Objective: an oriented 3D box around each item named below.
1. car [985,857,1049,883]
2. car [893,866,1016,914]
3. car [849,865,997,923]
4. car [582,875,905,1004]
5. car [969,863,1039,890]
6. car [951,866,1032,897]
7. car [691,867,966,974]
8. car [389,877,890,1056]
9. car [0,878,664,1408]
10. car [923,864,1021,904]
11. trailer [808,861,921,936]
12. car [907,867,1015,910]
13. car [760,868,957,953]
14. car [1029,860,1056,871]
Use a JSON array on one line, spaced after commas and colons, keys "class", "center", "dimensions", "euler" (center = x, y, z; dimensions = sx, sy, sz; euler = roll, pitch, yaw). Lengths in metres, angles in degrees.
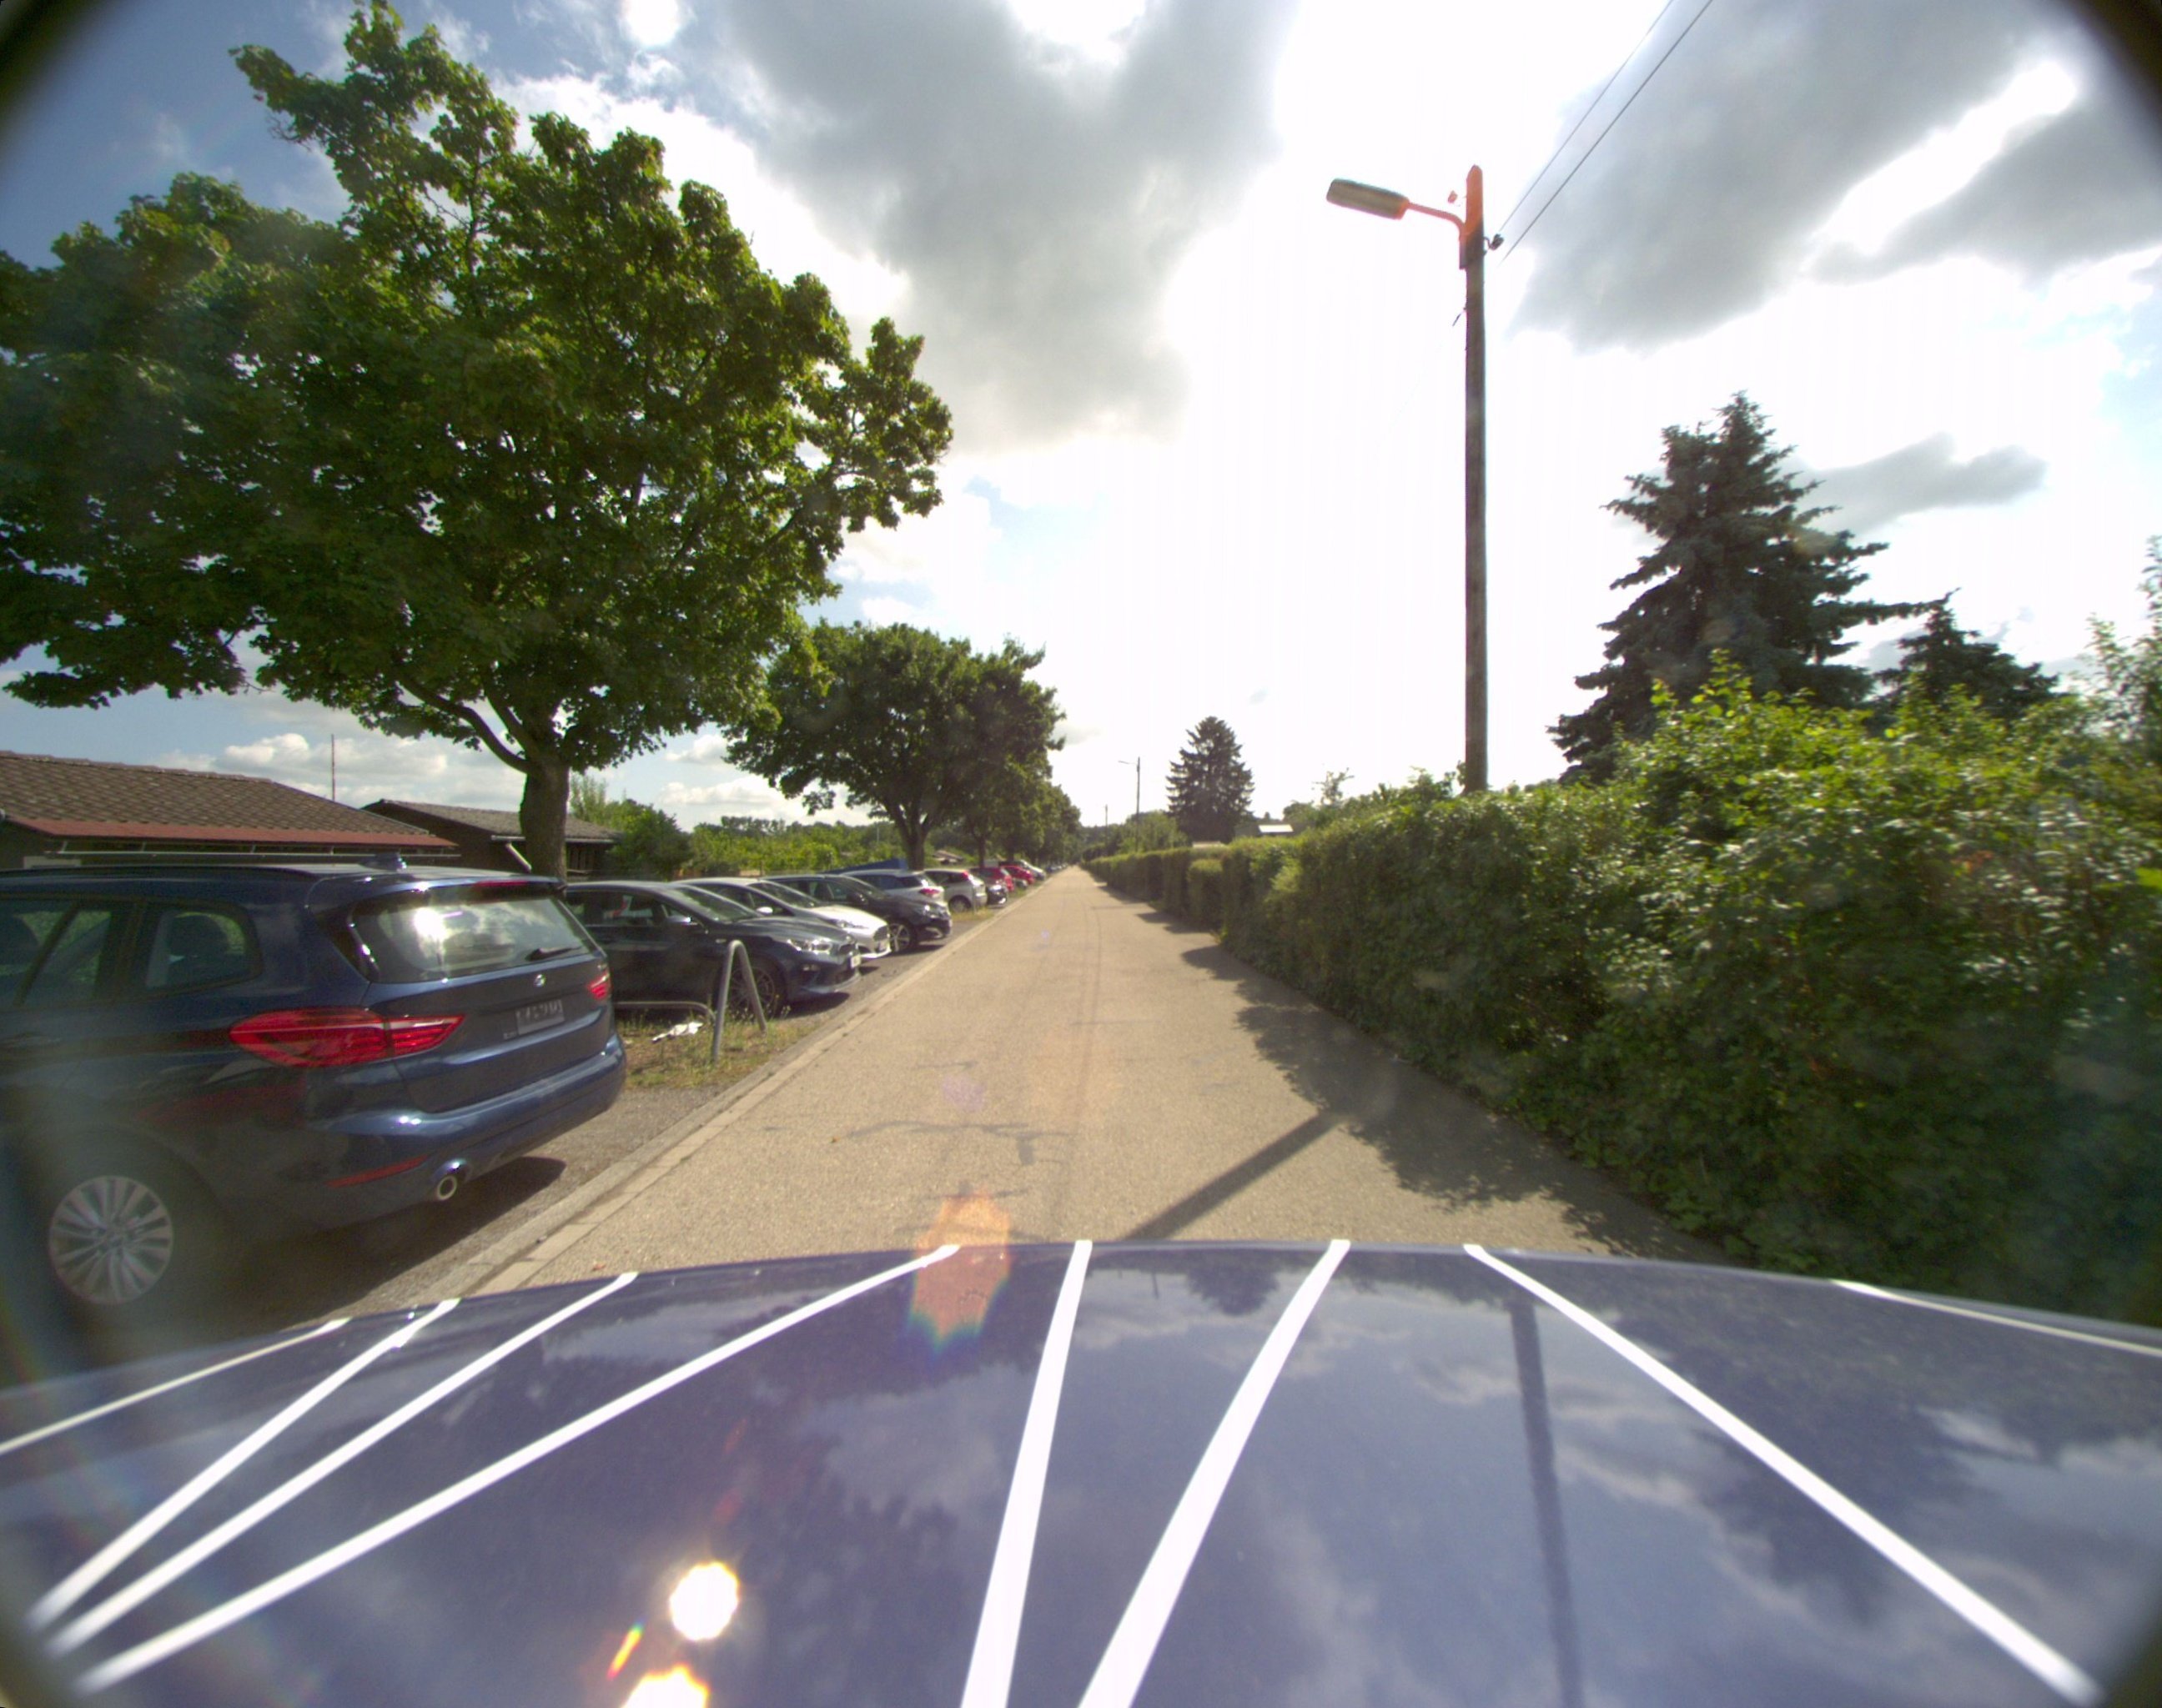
[{"class": "car", "center": [-4.723, 1.165, 56.423], "dimensions": [4.647, 1.875, 2.111], "euler": [0, 0, -2]}, {"class": "car", "center": [-4.440, 1.254, 27.205], "dimensions": [4.076, 1.447, 1.869], "euler": [-3, 0, -3]}, {"class": "car", "center": [-4.844, 1.209, 23.734], "dimensions": [4.074, 1.502, 1.958], "euler": [-3, 0, 3]}, {"class": "car", "center": [-4.741, 1.174, 11.155], "dimensions": [3.823, 1.483, 1.902], "euler": [-3, 0, -1]}, {"class": "car", "center": [-4.893, 1.433, 48.773], "dimensions": [4.193, 1.495, 1.878], "euler": [-3, 0, 1]}, {"class": "car", "center": [-4.832, 1.469, 41.552], "dimensions": [4.250, 1.420, 1.907], "euler": [-3, 0, -4]}, {"class": "car", "center": [-4.453, 1.154, 13.980], "dimensions": [4.313, 1.584, 2.000], "euler": [-3, 0, -1]}, {"class": "car", "center": [-4.587, 1.134, 8.474], "dimensions": [4.347, 1.483, 1.975], "euler": [-3, 0, -1]}, {"class": "car", "center": [-4.479, 0.985, 3.388], "dimensions": [4.165, 1.628, 1.879], "euler": [-1, 0, 1]}, {"class": "car", "center": [-4.812, 1.319, 33.902], "dimensions": [3.996, 1.511, 1.855], "euler": [-3, 0, 3]}, {"class": "trailer", "center": [-5.497, 1.110, 19.500], "dimensions": [2.457, 1.710, 1.518], "euler": [-3, -1, -4]}, {"class": "car", "center": [-4.753, 1.359, 30.475], "dimensions": [3.919, 1.415, 1.958], "euler": [-3, 0, 3]}, {"class": "car", "center": [-4.725, 1.184, 16.623], "dimensions": [3.734, 1.531, 1.849], "euler": [-3, 0, -3]}, {"class": "car", "center": [-5.812, 1.769, 114.777], "dimensions": [4.116, 1.573, 1.781], "euler": [-1, 0, -2]}]
